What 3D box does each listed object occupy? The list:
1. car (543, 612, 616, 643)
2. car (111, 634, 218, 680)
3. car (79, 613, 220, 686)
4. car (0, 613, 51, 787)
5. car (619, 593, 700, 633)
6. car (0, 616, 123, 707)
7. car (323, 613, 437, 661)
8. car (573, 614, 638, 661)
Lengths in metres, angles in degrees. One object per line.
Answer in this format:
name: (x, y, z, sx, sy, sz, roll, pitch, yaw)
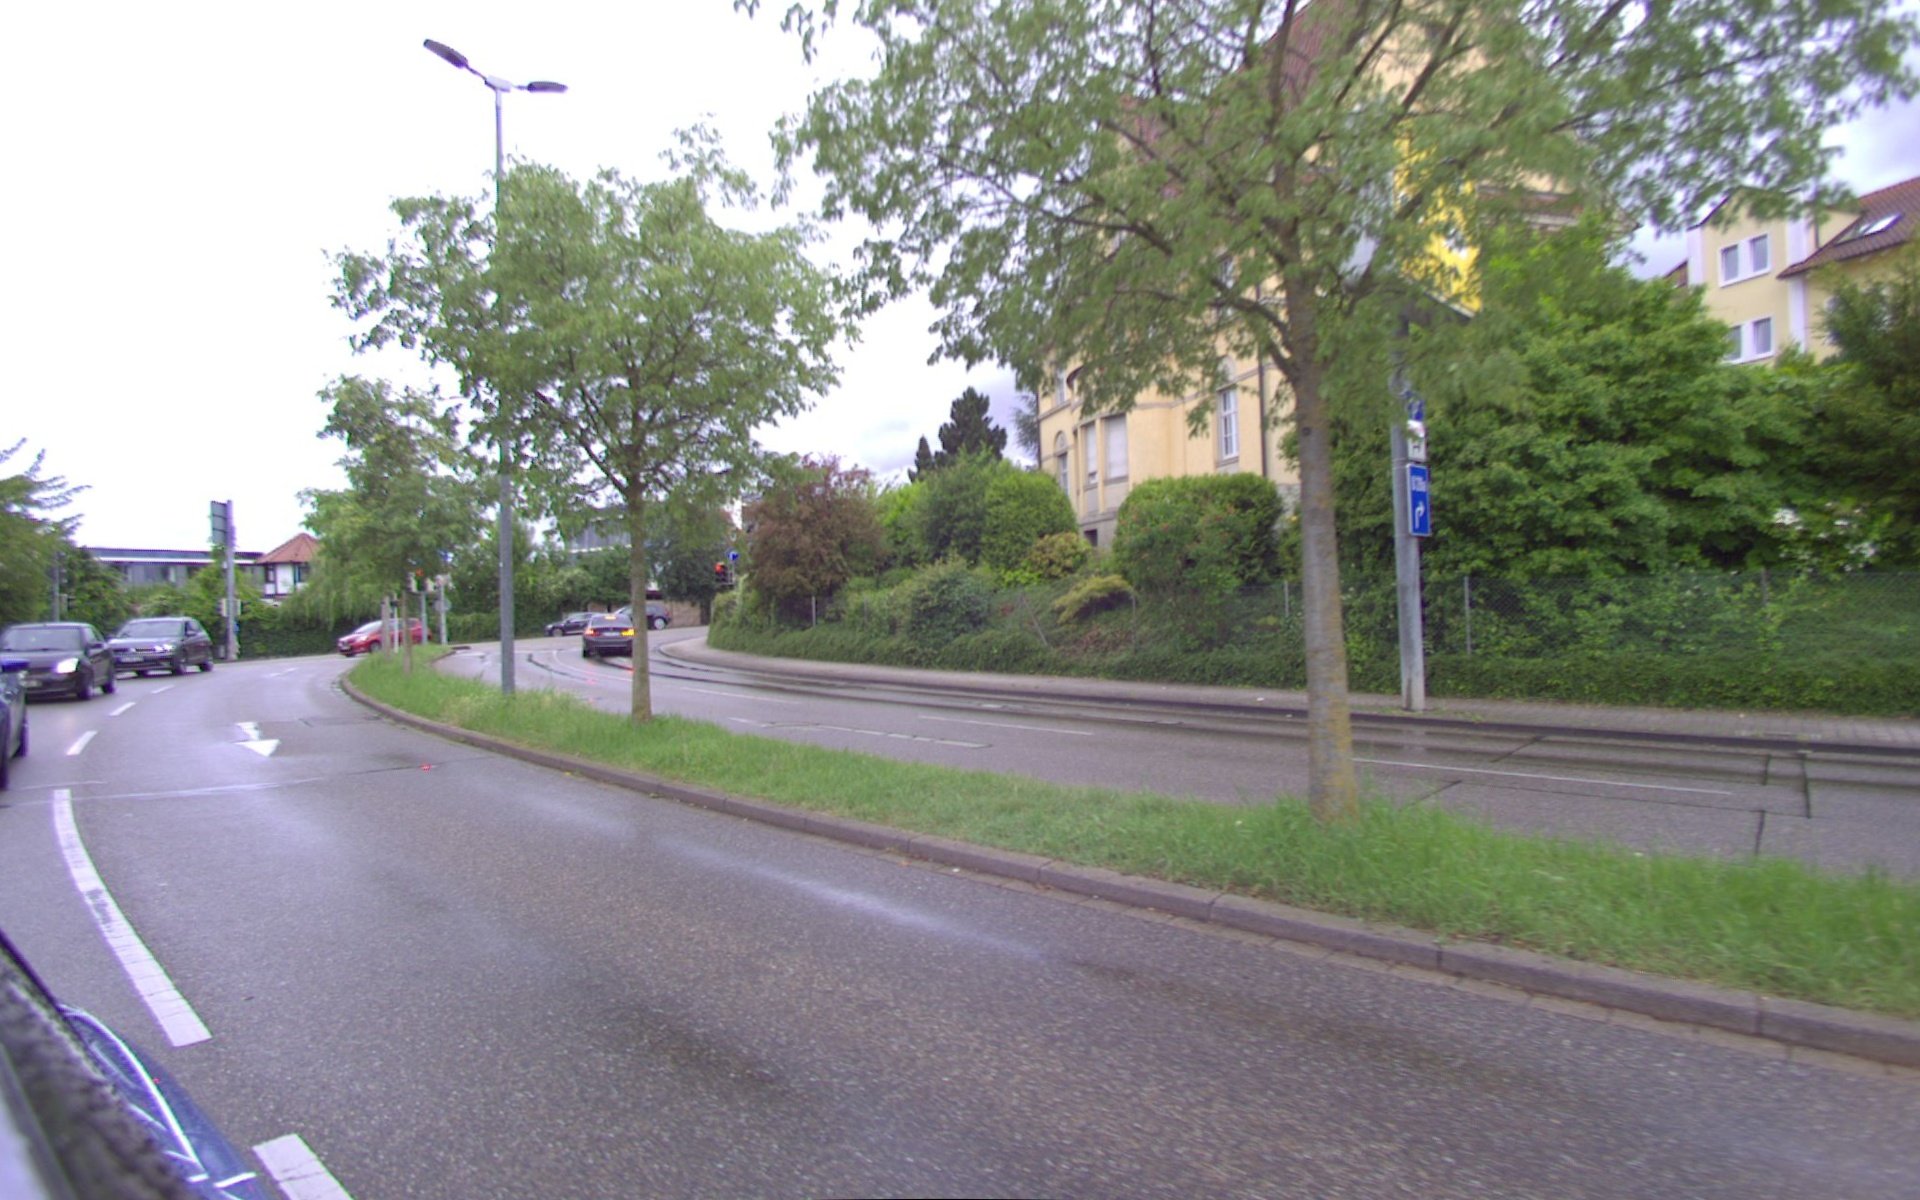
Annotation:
car: (-22.542, 1.585, 60.087, 3.931, 1.683, 2.006, -1, 0, -18)
car: (-42.246, 2.999, 53.841, 3.933, 2.028, 2.006, -5, 0, -17)
car: (-22.874, 1.383, 28.754, 1.935, 1.763, 4.321, -5, 0, -23)
car: (-10.069, 0.936, 9.496, 1.884, 1.507, 4.358, -3, 0, -37)
car: (-16.289, 0.706, 54.851, 3.932, 1.739, 1.875, -5, 0, -22)
car: (-18.035, 1.224, 19.962, 1.718, 1.530, 4.011, -5, 0, -31)
car: (-25.211, 1.573, 44.159, 1.855, 1.739, 3.974, -5, 0, 20)
car: (-12.397, 1.305, 35.255, 1.965, 1.448, 4.562, -1, -2, -21)
